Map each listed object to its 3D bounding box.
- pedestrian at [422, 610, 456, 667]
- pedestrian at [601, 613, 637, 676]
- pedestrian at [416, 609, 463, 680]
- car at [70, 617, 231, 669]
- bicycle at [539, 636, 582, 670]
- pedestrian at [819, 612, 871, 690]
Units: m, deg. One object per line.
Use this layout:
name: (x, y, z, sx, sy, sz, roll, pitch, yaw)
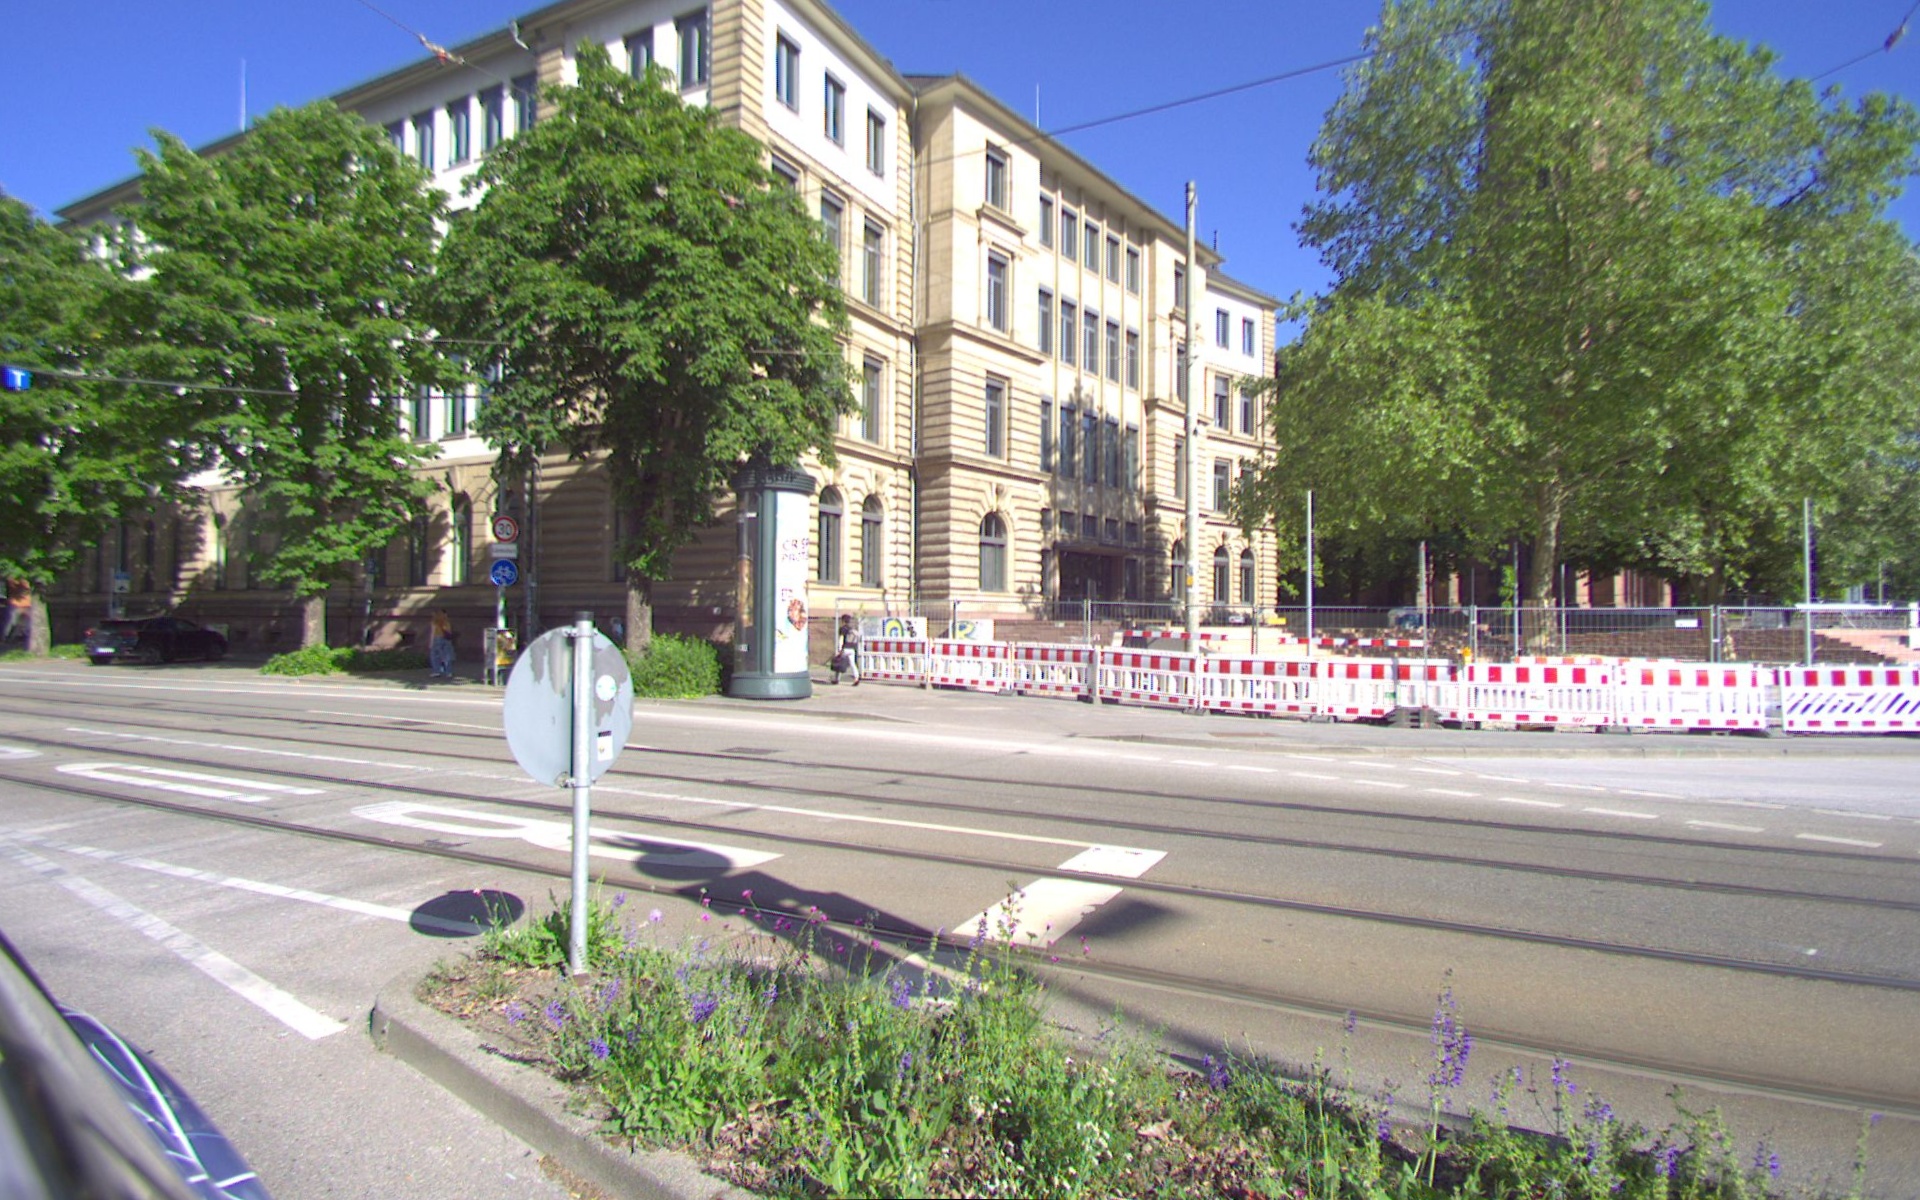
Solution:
pedestrian: (-15.199, 1.115, 29.528, 0.844, 1.578, 0.675, -2, 2, -28)
pedestrian: (-8.707, 1.136, 25.827, 0.651, 1.574, 0.573, -1, -2, 29)
pedestrian: (-12.962, 1.122, 25.227, 0.759, 1.682, 1.036, -1, -5, -11)
car: (-26.068, 1.366, 32.801, 1.895, 1.586, 4.108, 0, -2, 1)
bicycle: (-11.445, 1.511, 28.952, 1.356, 0.910, 0.394, 0, 0, 31)
pedestrian: (-2.610, 1.140, 22.927, 0.845, 1.682, 0.720, 2, 0, 39)
